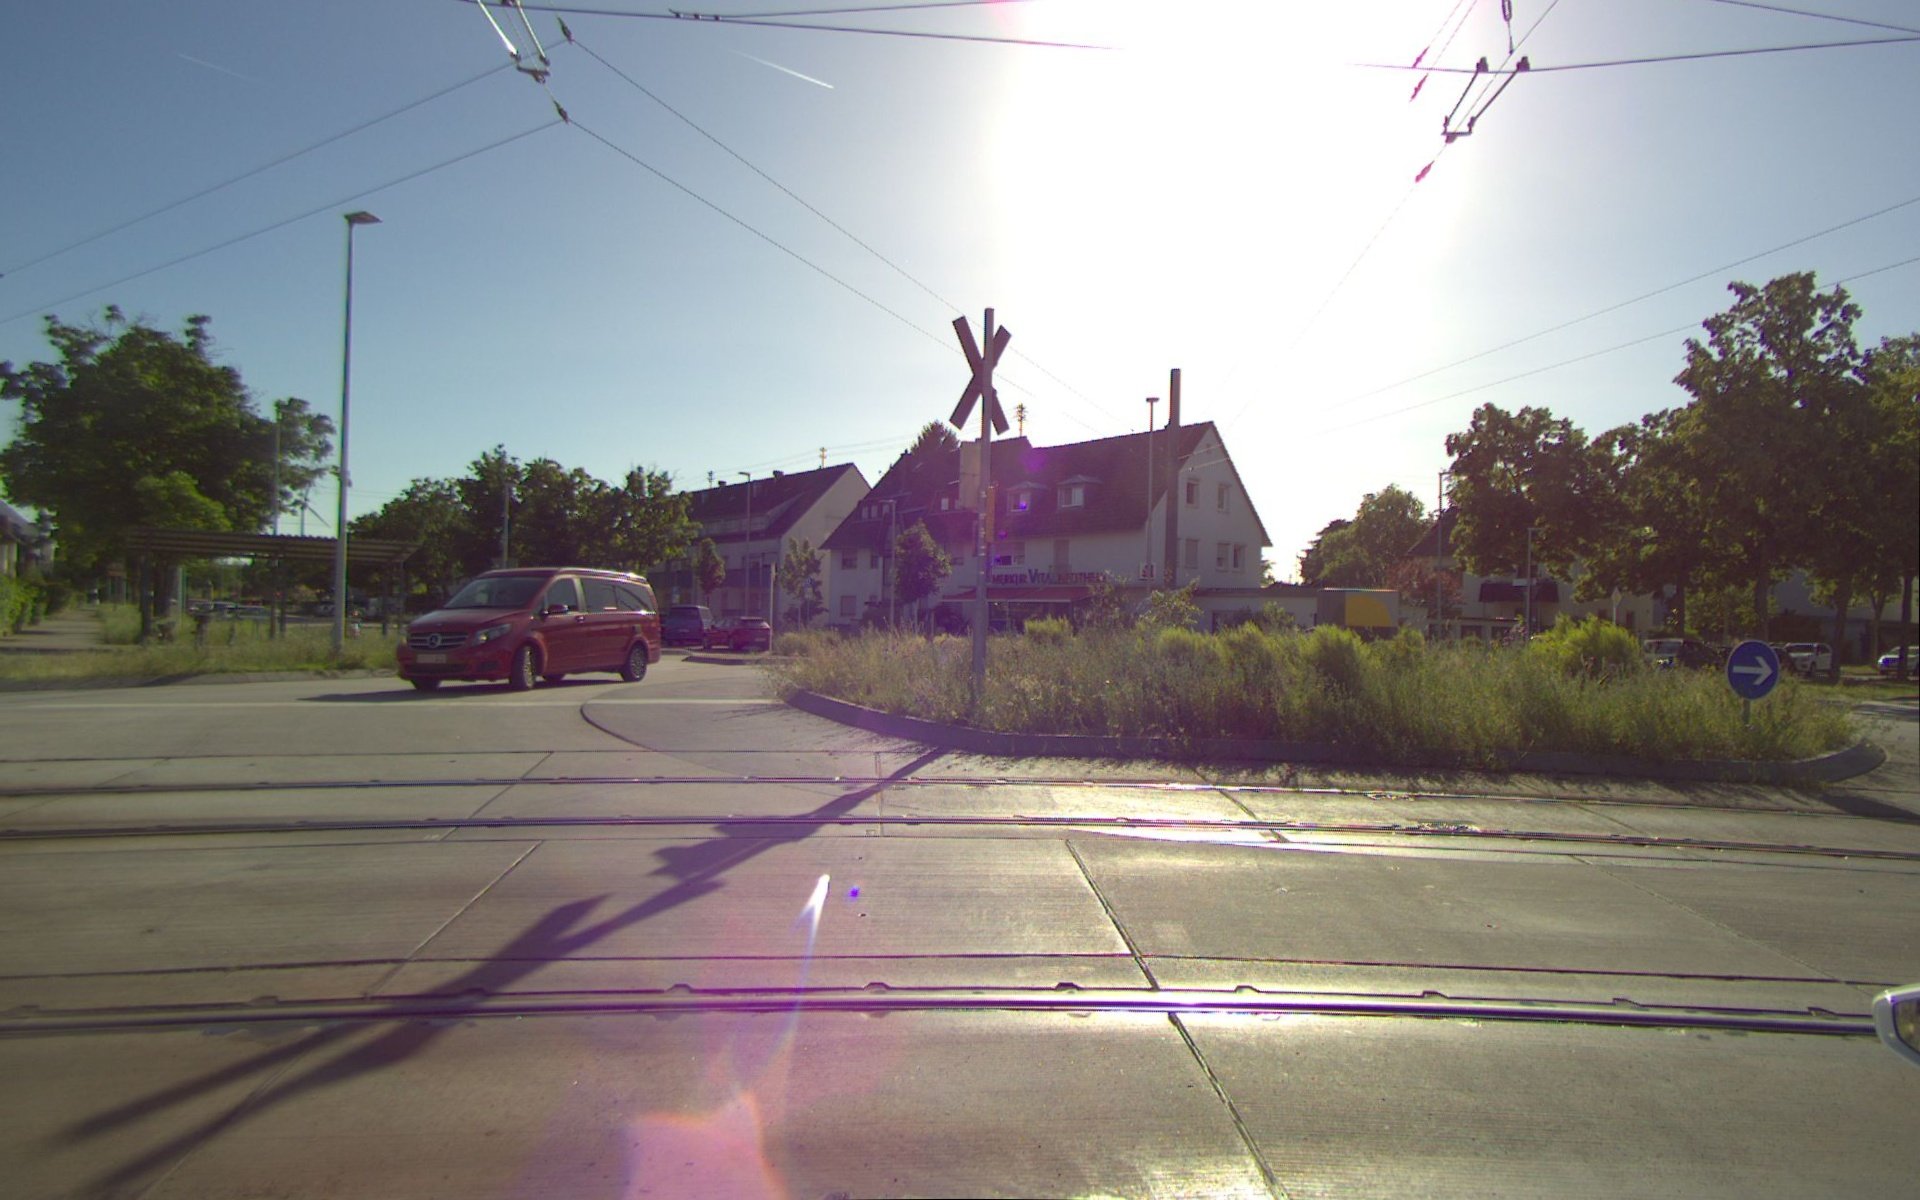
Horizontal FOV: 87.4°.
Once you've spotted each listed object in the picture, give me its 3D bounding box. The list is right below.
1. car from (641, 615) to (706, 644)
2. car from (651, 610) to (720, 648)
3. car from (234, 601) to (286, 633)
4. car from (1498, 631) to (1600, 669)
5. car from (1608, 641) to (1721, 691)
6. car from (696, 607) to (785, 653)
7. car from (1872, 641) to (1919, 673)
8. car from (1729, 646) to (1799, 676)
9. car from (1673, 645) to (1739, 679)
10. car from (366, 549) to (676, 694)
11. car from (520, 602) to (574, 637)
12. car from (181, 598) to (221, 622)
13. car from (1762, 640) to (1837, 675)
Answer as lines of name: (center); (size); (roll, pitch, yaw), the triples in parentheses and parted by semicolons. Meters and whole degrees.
car: (-14.825, 1.522, 52.042); (3.111, 1.315, 1.379); (3, 0, -16)
car: (-13.037, 1.369, 47.864); (3.024, 1.641, 1.407); (3, 0, -11)
car: (-35.086, 0.846, 50.329); (1.812, 1.411, 3.746); (2, 0, -40)
car: (30.240, 2.550, 51.668); (1.978, 1.717, 4.016); (2, 0, -31)
car: (25.507, 2.385, 36.339); (4.394, 1.601, 1.819); (3, 0, -34)
car: (-9.634, 1.289, 43.895); (1.984, 1.721, 4.318); (2, 0, -41)
car: (59.598, 3.601, 63.064); (5.000, 1.796, 1.984); (3, 0, -30)
car: (41.580, 3.150, 51.921); (3.964, 1.341, 1.946); (3, 0, -38)
car: (36.307, 3.004, 48.830); (3.773, 1.484, 1.783); (3, 0, -41)
car: (-6.989, 0.308, 16.800); (1.959, 2.008, 5.240); (1, 0, 14)
car: (-27.031, 1.235, 65.682); (1.882, 2.041, 4.318); (2, 0, -41)
car: (-46.883, 0.641, 62.023); (1.812, 1.411, 3.824); (2, -2, -40)
car: (45.569, 3.124, 54.524); (4.175, 1.722, 1.981); (3, 0, -34)
